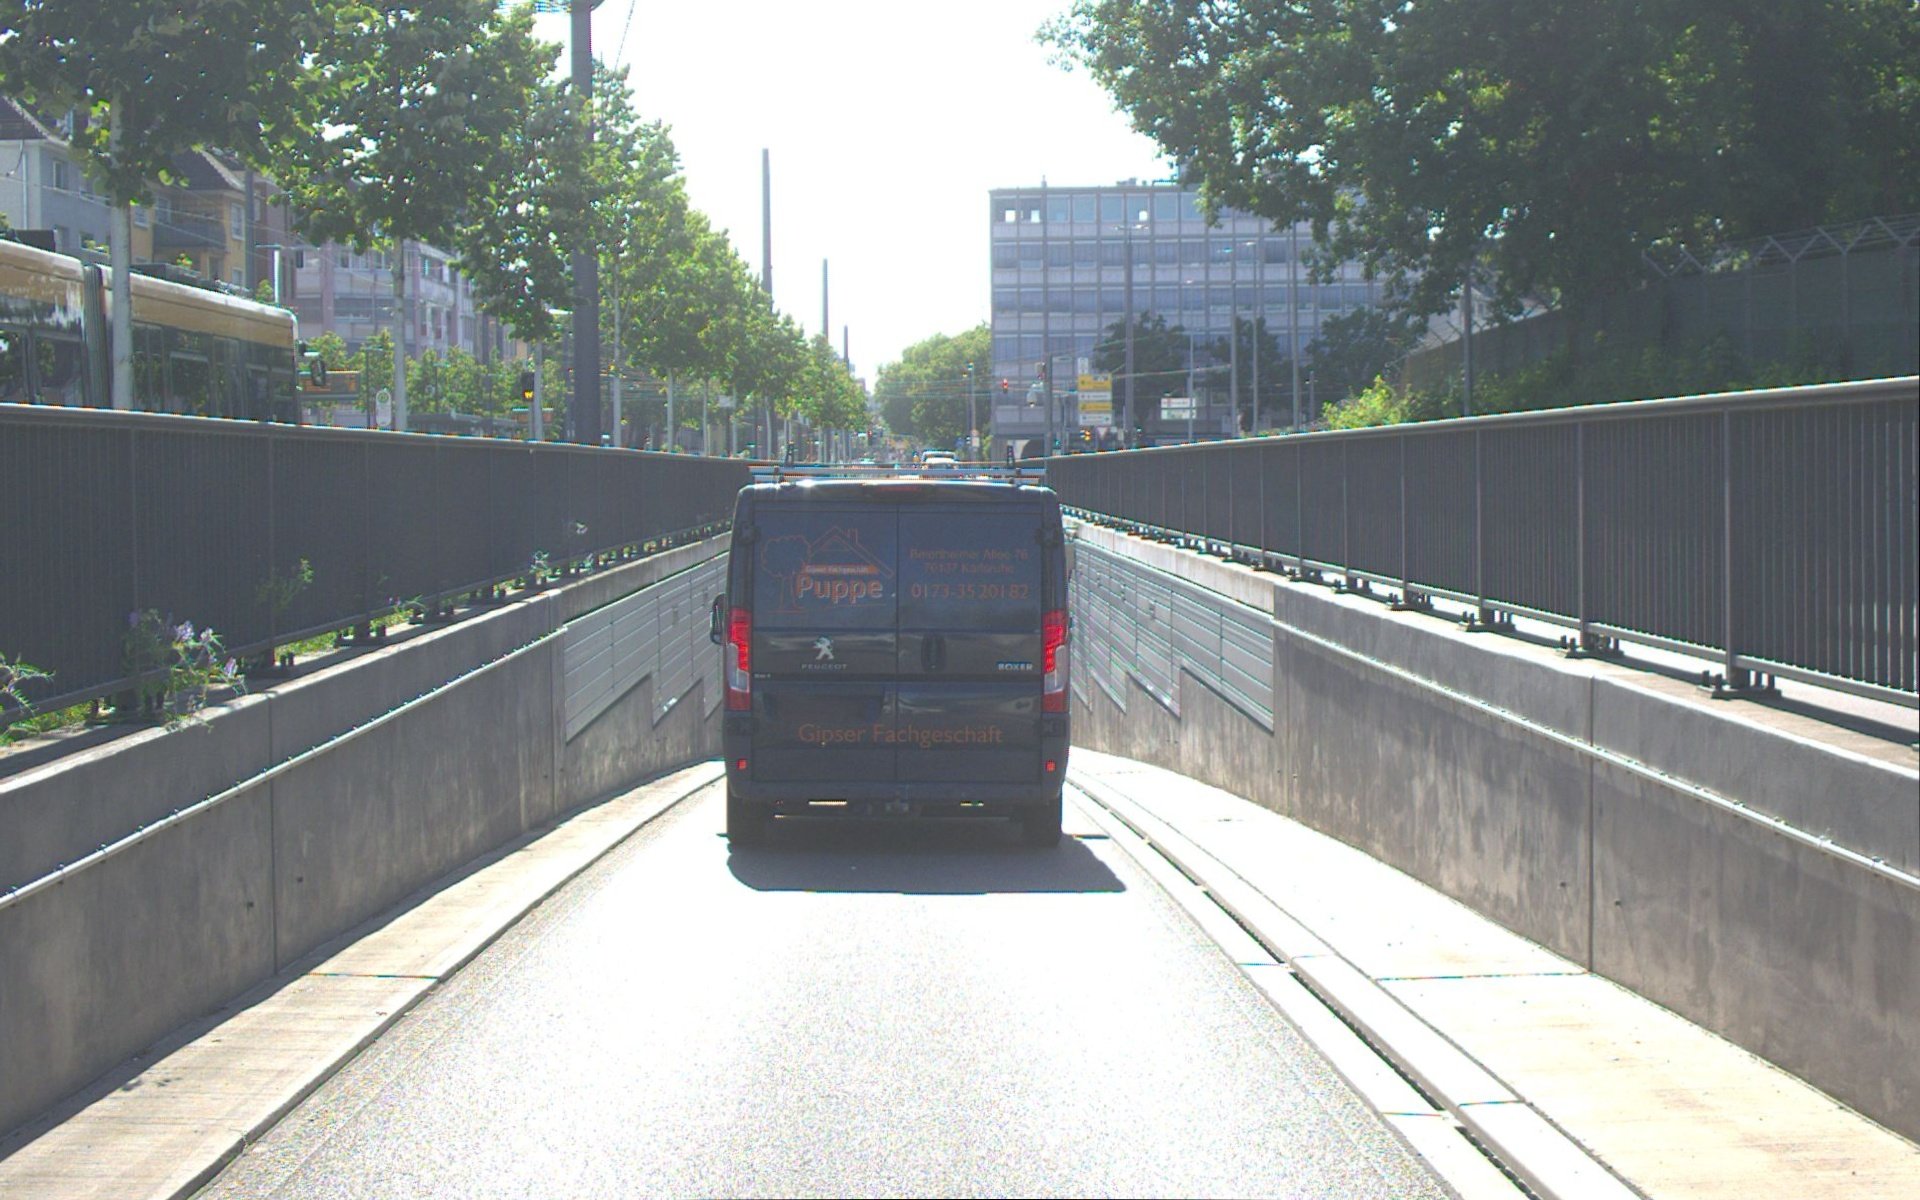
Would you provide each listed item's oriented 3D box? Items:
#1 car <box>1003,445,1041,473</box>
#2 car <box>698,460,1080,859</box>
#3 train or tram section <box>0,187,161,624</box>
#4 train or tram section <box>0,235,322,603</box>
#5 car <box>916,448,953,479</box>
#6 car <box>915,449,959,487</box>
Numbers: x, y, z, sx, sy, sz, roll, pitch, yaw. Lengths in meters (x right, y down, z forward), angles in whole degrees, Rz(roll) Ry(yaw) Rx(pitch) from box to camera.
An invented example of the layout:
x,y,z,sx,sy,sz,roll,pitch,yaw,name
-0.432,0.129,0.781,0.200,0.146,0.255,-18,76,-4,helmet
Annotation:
x,y,z,sx,sy,sz,roll,pitch,yaw,name
3.182,-7.215,176.315,1.740,1.416,4.001,0,2,-2,car
-0.407,0.353,21.990,2.158,2.258,4.636,1,0,0,car
-9.684,-1.707,29.773,2.610,3.808,13.092,1,2,-1,train or tram section
-9.852,-2.062,41.304,2.612,3.841,9.972,1,2,-1,train or tram section
-1.290,-6.896,173.484,1.740,1.556,4.001,0,2,-2,car
-0.984,-5.582,145.213,1.740,1.556,4.001,0,2,-2,car
